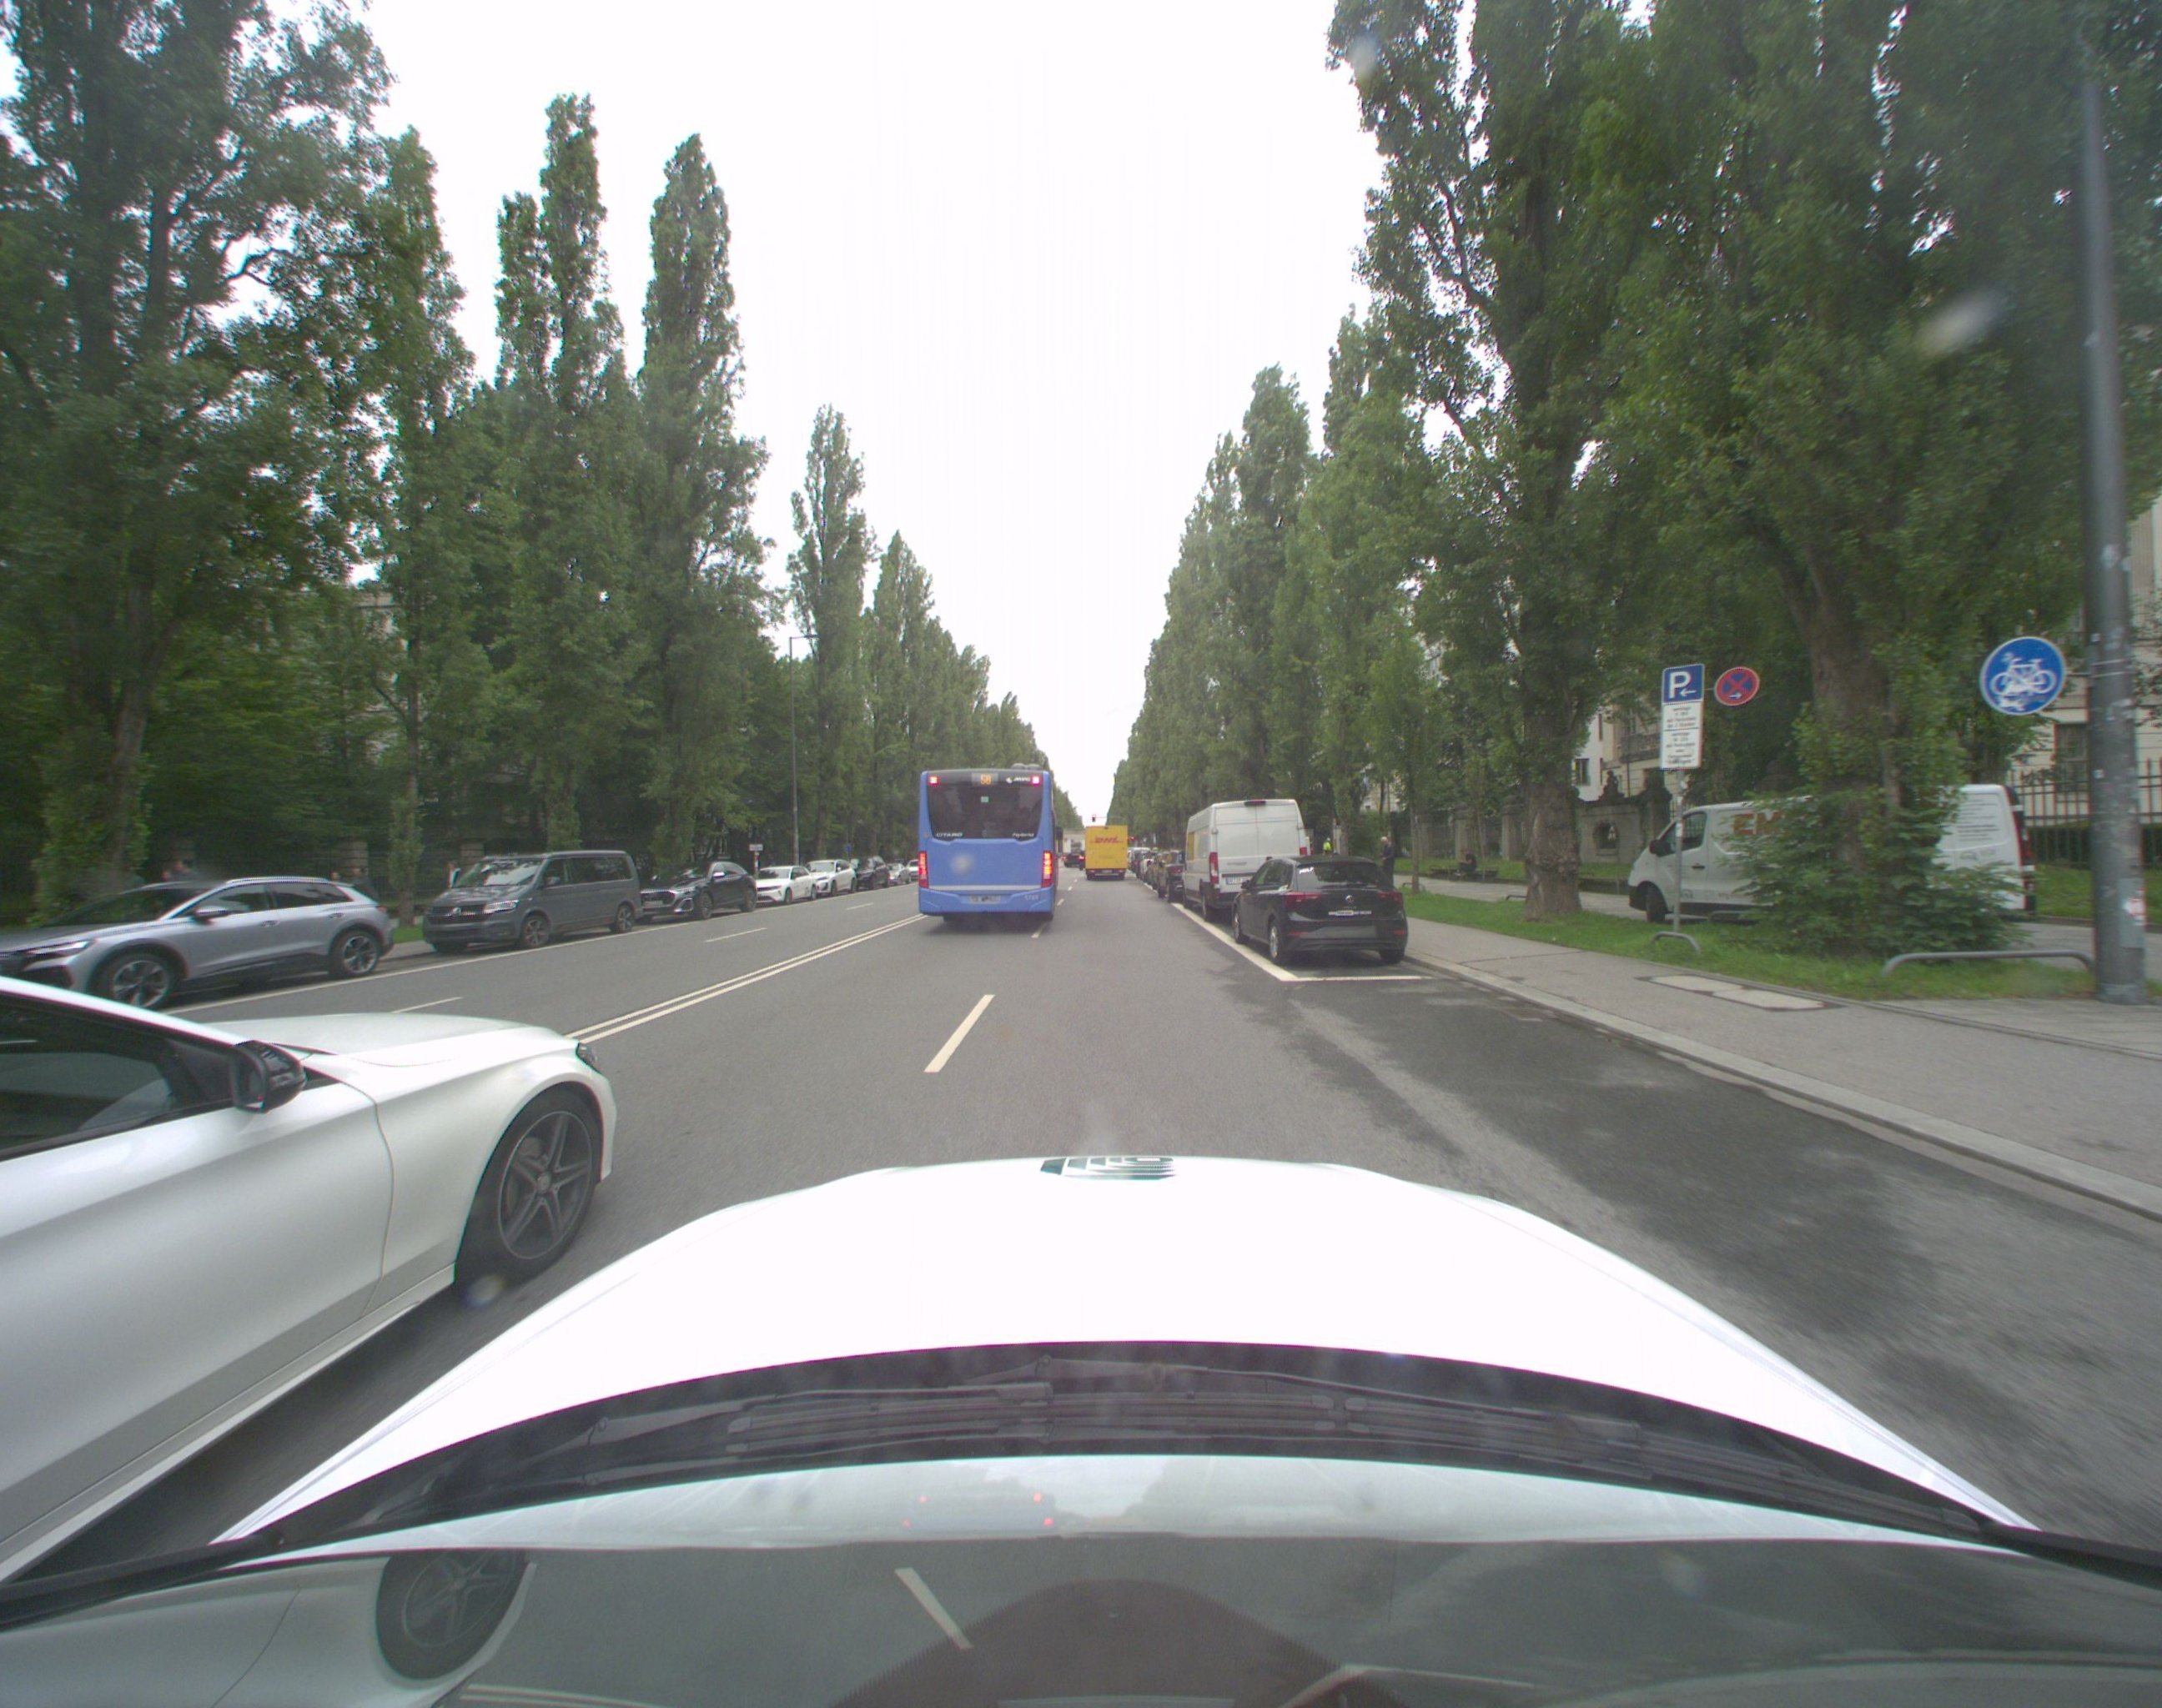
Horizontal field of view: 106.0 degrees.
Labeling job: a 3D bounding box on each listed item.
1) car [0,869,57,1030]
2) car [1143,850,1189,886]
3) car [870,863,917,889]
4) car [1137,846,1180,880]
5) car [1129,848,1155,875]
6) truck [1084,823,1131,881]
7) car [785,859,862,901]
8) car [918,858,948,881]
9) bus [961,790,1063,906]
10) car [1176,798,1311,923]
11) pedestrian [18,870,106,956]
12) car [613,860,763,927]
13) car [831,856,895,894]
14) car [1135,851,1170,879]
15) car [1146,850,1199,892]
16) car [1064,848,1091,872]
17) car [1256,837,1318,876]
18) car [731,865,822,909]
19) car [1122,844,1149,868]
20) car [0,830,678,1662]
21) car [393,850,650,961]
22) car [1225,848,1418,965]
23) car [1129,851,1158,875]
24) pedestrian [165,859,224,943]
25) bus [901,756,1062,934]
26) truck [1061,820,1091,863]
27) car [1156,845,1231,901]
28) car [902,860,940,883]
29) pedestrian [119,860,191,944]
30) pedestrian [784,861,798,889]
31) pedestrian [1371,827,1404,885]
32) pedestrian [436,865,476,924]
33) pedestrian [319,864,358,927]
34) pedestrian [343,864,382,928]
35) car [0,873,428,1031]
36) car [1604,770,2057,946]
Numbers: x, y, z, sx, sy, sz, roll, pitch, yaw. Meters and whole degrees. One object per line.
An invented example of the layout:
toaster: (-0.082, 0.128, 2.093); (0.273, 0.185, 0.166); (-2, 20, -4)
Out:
car: (-11.750, 1.023, 6.260); (1.776, 1.596, 4.614); (-4, 0, 1)
car: (3.695, 0.584, 35.931); (1.627, 1.446, 4.149); (1, 0, 1)
car: (-10.882, 1.257, 47.453); (1.574, 1.304, 4.030); (-3, 0, 2)
car: (3.785, 0.439, 40.401); (1.775, 1.581, 4.147); (0, 0, 1)
car: (4.684, 0.522, 62.824); (1.799, 1.976, 4.238); (-1, 0, 2)
truck: (1.415, -0.112, 45.164); (2.319, 2.898, 7.333); (-1, 0, 1)
car: (-11.249, 1.090, 35.905); (1.779, 1.588, 4.463); (-4, 0, 2)
car: (-10.990, 1.138, 60.676); (1.740, 1.518, 4.111); (-3, 0, -4)
bus: (-2.108, -0.178, 28.666); (2.864, 3.304, 9.784); (-1, 0, -1)
car: (3.616, 0.124, 19.451); (2.067, 2.479, 6.284); (-1, 0, 1)
pedestrian: (-19.974, 1.136, 15.982); (0.707, 1.618, 0.791); (-1, 0, 1)
car: (-11.331, 1.062, 23.972); (1.809, 1.609, 5.054); (-4, 0, 1)
car: (-11.064, 1.033, 41.671); (1.874, 1.658, 4.717); (-4, 0, 0)
car: (4.035, 0.604, 46.192); (1.719, 1.495, 4.326); (-1, 0, 2)
car: (3.459, 0.616, 31.401); (1.646, 1.503, 4.114); (0, 0, 1)
car: (-0.259, 0.472, 66.712); (2.028, 1.801, 4.509); (-2, 0, 2)
car: (10.933, 0.114, 43.611); (1.987, 1.925, 5.324); (-1, 0, 0)
car: (-11.336, 1.185, 30.612); (1.670, 1.422, 4.238); (-3, 0, 1)
car: (4.674, 0.153, 70.757); (2.045, 2.013, 5.694); (-2, 0, 2)
car: (-2.808, 0.695, 1.404); (1.819, 1.454, 4.584); (-1, 0, 2)
car: (-11.724, 0.950, 17.643); (1.987, 1.956, 4.938); (-3, 0, 1)
car: (3.365, 0.651, 12.181); (1.748, 1.450, 4.000); (1, 0, 1)
car: (4.385, 0.622, 57.311); (1.856, 1.552, 4.002); (-1, 0, 2)
pedestrian: (-20.147, 1.052, 18.515); (0.506, 1.859, 0.723); (-1, 0, 2)
bus: (-1.928, -0.175, 19.429); (2.848, 3.213, 9.055); (-1, 0, -1)
truck: (-0.542, -1.185, 80.767); (2.708, 3.965, 9.214); (-2, 0, -1)
car: (3.428, 0.553, 25.575); (1.814, 1.590, 4.223); (-1, 0, 1)
car: (-10.981, 1.172, 56.148); (1.680, 1.413, 4.004); (-3, 0, 0)
pedestrian: (-21.092, 1.072, 18.562); (0.744, 1.854, 0.757); (-1, 0, 2)
pedestrian: (-18.871, 1.368, 52.999); (0.637, 1.815, 0.775); (-2, 0, 1)
pedestrian: (10.037, 0.071, 26.709); (0.654, 1.839, 0.782); (-2, 0, -13)
pedestrian: (-19.198, 1.236, 25.034); (0.606, 1.757, 0.757); (-2, 0, 0)
pedestrian: (-20.327, 1.126, 22.301); (0.506, 1.707, 0.570); (-1, 0, 2)
pedestrian: (-19.692, 1.142, 22.325); (0.506, 1.707, 0.570); (-1, 0, 2)
car: (-11.960, 1.160, 11.321); (1.884, 1.584, 4.655); (-3, 0, 1)
car: (10.171, 0.049, 11.828); (1.986, 1.946, 5.085); (-2, 0, 2)
